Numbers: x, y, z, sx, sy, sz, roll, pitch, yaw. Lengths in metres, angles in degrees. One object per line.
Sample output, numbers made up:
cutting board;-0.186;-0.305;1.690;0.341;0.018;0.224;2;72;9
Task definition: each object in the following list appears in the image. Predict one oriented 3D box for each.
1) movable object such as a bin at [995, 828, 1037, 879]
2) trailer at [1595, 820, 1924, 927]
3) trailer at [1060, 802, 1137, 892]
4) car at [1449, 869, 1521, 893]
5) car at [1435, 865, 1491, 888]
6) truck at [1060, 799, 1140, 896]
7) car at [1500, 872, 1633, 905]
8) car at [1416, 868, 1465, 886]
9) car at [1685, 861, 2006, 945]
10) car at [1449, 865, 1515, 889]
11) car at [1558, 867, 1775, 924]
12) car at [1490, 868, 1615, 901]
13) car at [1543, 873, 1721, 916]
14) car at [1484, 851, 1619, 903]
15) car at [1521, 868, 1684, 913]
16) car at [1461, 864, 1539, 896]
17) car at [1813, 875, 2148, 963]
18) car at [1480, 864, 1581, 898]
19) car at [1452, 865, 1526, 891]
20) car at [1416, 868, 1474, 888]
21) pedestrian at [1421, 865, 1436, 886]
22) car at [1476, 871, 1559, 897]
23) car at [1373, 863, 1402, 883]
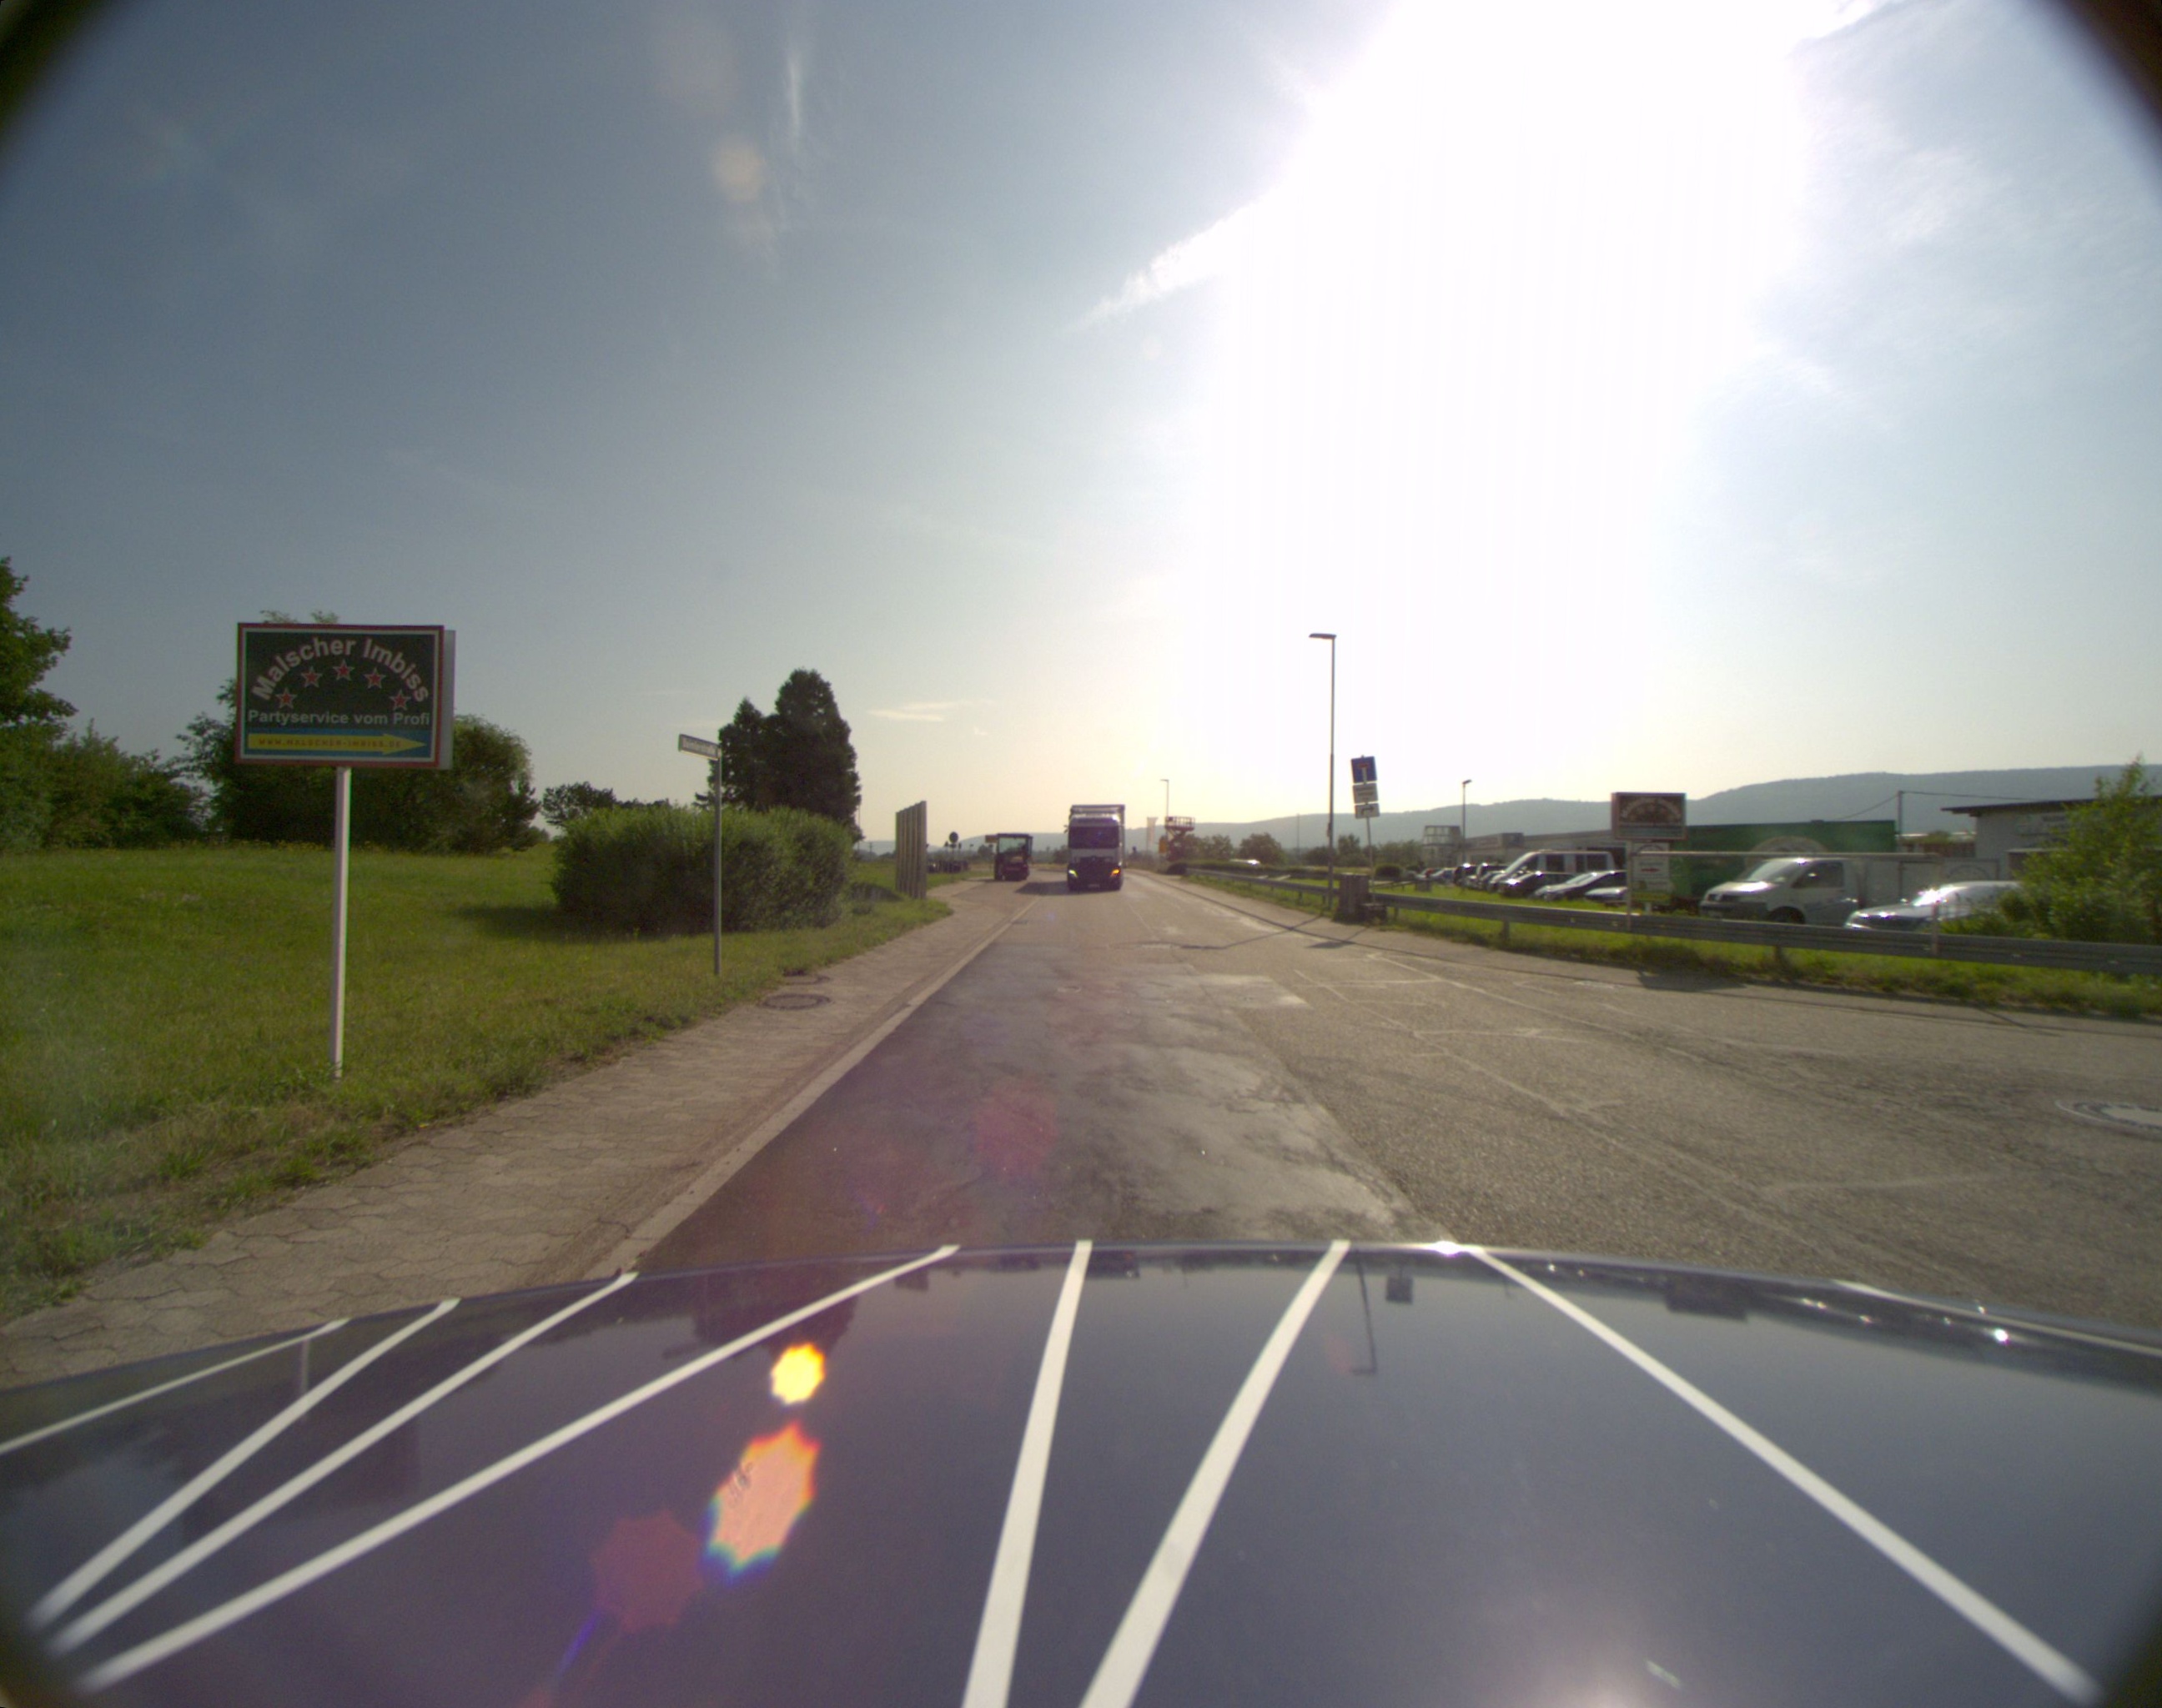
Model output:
movable object such as a bin;-4.236;-0.053;48.791;2.436;2.994;5.750;2;0;-7
trailer;18.823;0.476;21.607;6.315;2.589;2.858;2;0;14
trailer;0.996;-0.397;42.854;3.497;4.183;14.233;-1;1;1
car;25.914;1.723;48.817;3.750;1.381;1.731;2;0;15
car;31.417;1.858;62.584;3.767;1.785;1.935;-1;1;13
truck;0.863;-0.322;36.243;3.395;4.183;6.098;-1;1;1
car;21.433;1.525;33.776;4.686;1.212;1.834;2;-1;19
car;32.382;2.048;68.564;3.659;1.455;1.766;2;0;15
car;18.008;1.095;18.174;5.272;1.696;2.001;2;0;7
car;28.041;1.602;53.234;3.681;1.512;1.686;2;0;12
car;18.782;1.304;24.699;5.131;1.525;2.182;2;-1;19
car;22.519;1.443;36.497;4.755;1.346;1.925;2;-1;19
car;20.006;1.453;27.859;4.955;1.309;1.782;2;-1;19
car;23.840;1.155;38.774;5.394;2.358;2.298;2;-1;19
car;21.168;1.465;31.109;5.131;1.525;2.029;2;-1;19
car;25.450;1.563;46.272;3.750;1.741;1.751;2;0;15
car;17.312;1.231;14.729;4.839;1.501;1.961;1;0;-9
car;24.347;1.446;41.341;4.393;1.653;1.810;2;-1;19
car;27.312;1.582;50.957;3.993;1.512;1.686;2;0;12
car;31.340;2.077;65.446;4.149;1.526;1.885;2;0;13
pedestrian;29.386;1.798;64.276;0.839;1.744;0.993;-1;1;3
car;25.025;1.716;43.686;3.750;1.301;1.809;2;0;15
car;34.191;2.083;84.792;1.997;2.002;4.160;2;0;9
